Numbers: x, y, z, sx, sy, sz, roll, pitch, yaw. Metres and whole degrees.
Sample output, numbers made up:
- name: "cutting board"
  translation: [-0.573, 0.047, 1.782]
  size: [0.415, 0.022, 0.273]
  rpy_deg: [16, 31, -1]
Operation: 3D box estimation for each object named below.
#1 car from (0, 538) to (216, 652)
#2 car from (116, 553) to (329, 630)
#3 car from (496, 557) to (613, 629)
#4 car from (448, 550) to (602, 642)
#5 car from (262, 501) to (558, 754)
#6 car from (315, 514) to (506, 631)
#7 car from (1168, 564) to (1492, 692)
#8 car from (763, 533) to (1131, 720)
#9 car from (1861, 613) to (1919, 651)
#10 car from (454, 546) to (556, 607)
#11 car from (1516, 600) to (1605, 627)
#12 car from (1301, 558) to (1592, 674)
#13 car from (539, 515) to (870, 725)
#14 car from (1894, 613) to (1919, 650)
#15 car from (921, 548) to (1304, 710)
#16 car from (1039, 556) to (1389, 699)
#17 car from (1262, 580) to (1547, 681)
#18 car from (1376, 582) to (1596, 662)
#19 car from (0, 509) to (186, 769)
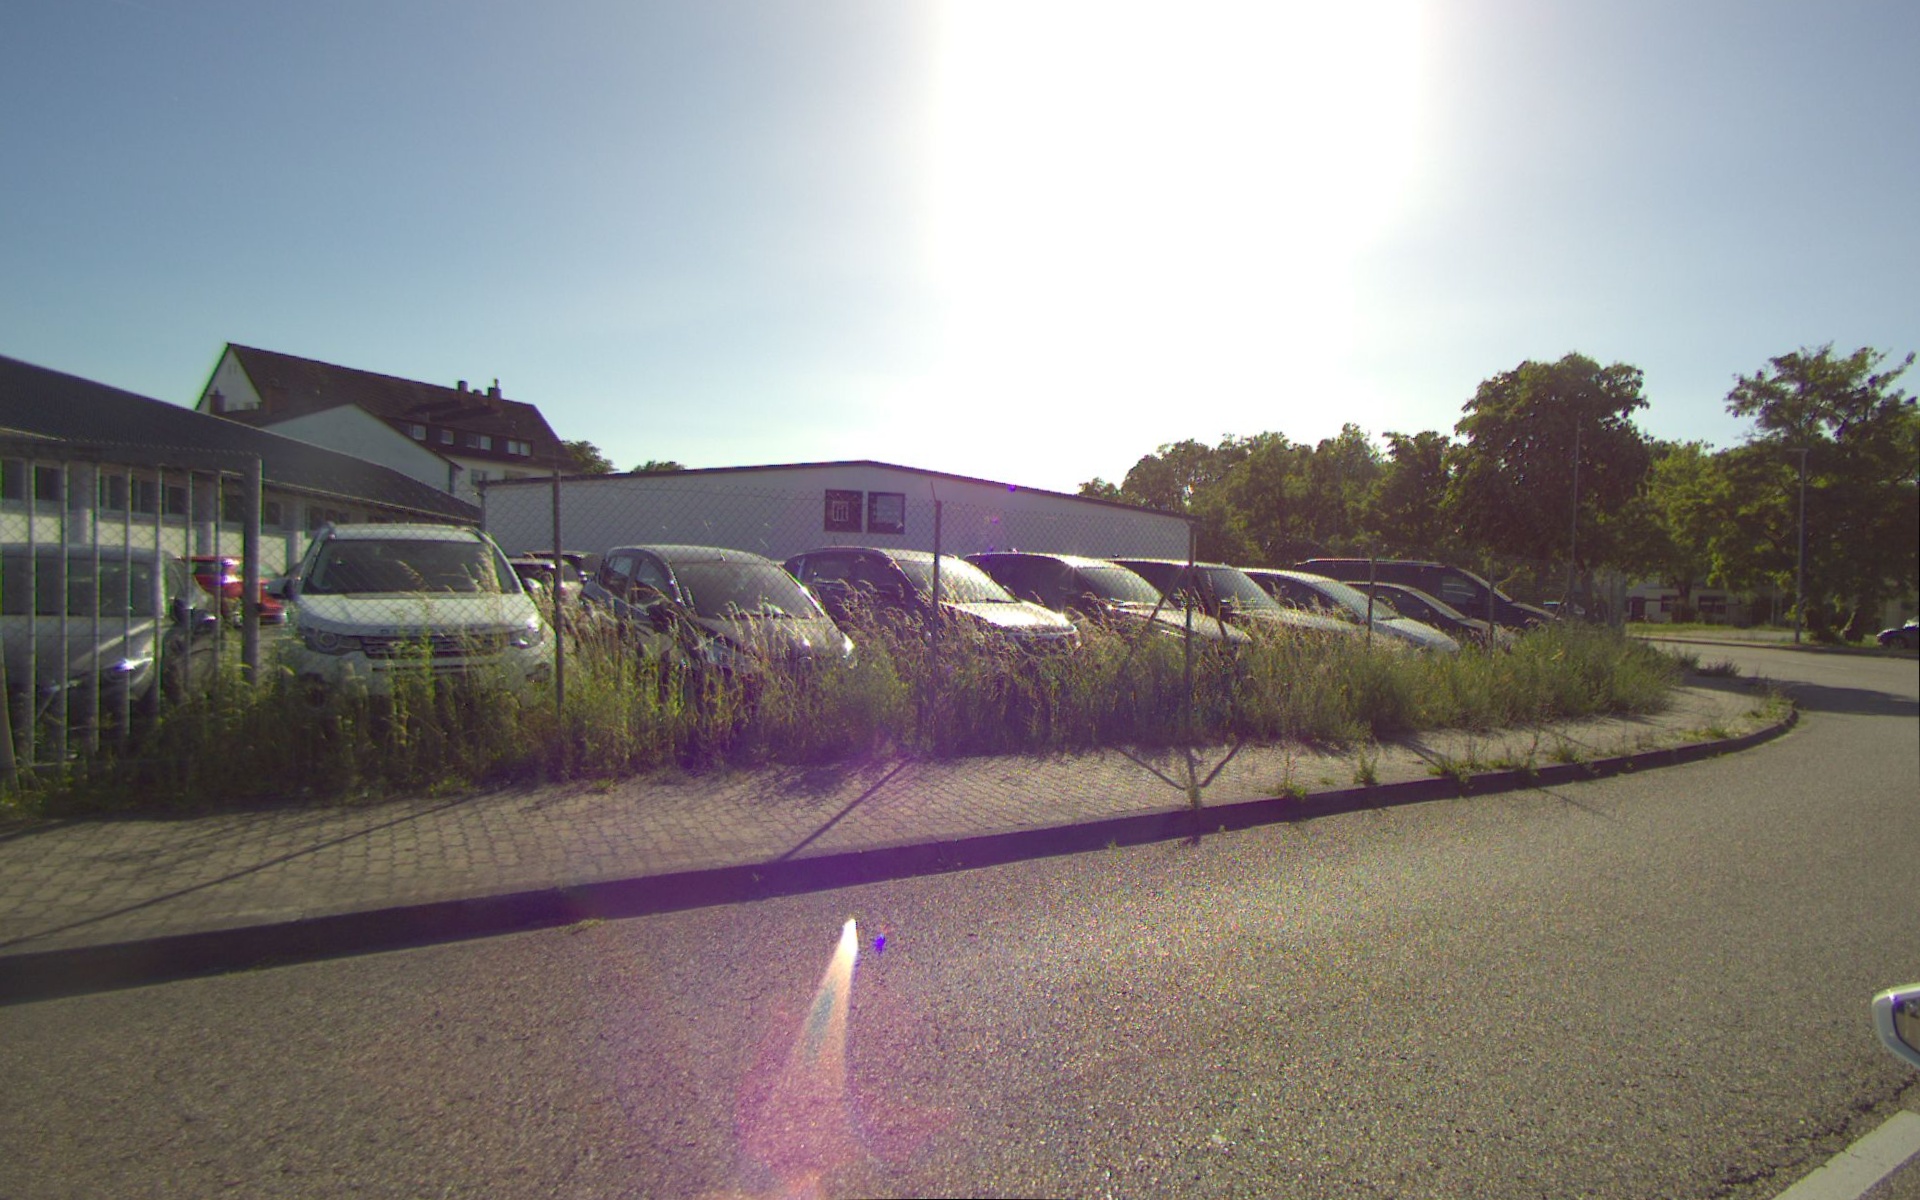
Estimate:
- name: "car"
  translation: [-14.228, -0.134, 16.166]
  size: [1.807, 1.583, 4.395]
  rpy_deg: [2, 1, -10]
- name: "car"
  translation: [-15.266, -0.202, 21.122]
  size: [1.807, 1.394, 4.395]
  rpy_deg: [2, 1, -10]
- name: "car"
  translation: [-10.073, -0.192, 25.264]
  size: [1.807, 1.583, 4.395]
  rpy_deg: [2, 1, -10]
- name: "car"
  translation: [-8.532, -0.111, 20.094]
  size: [1.807, 1.583, 4.395]
  rpy_deg: [2, 1, -10]
- name: "car"
  translation: [-5.028, 0.137, 8.973]
  size: [1.821, 1.671, 4.363]
  rpy_deg: [1, 1, -33]
- name: "car"
  translation: [-12.546, -0.672, 23.449]
  size: [2.072, 2.302, 5.752]
  rpy_deg: [2, 2, -9]
- name: "car"
  translation: [5.608, 0.333, 15.636]
  size: [1.828, 1.671, 4.345]
  rpy_deg: [1, 1, -44]
- name: "car"
  translation: [-0.358, 0.185, 11.232]
  size: [1.824, 1.671, 4.355]
  rpy_deg: [1, 1, -38]
- name: "car"
  translation: [39.213, 1.351, 39.752]
  size: [1.972, 1.445, 4.897]
  rpy_deg: [2, 1, -24]
- name: "car"
  translation: [-13.956, -0.718, 31.074]
  size: [1.807, 1.671, 4.395]
  rpy_deg: [2, 1, -10]
- name: "car"
  translation: [38.337, 0.848, 64.282]
  size: [1.966, 1.504, 4.913]
  rpy_deg: [2, 1, -13]
- name: "car"
  translation: [9.230, 0.234, 19.268]
  size: [4.765, 1.918, 1.836]
  rpy_deg: [2, 1, 31]
- name: "car"
  translation: [-2.822, 0.108, 10.297]
  size: [1.822, 1.671, 4.359]
  rpy_deg: [1, 1, -35]
- name: "car"
  translation: [41.552, 1.413, 40.807]
  size: [1.972, 1.504, 4.897]
  rpy_deg: [2, 1, -24]
- name: "car"
  translation: [1.802, 0.248, 12.529]
  size: [4.330, 1.671, 1.834]
  rpy_deg: [3, 1, 35]
- name: "car"
  translation: [3.450, 0.283, 14.006]
  size: [4.330, 1.671, 1.834]
  rpy_deg: [3, 1, 35]
- name: "car"
  translation: [7.698, 0.458, 17.528]
  size: [4.325, 1.456, 1.837]
  rpy_deg: [2, 1, 30]
- name: "car"
  translation: [12.535, 0.486, 24.221]
  size: [4.314, 1.671, 1.841]
  rpy_deg: [2, 1, 12]
- name: "car"
  translation: [-7.154, 0.155, 7.486]
  size: [1.821, 1.527, 4.363]
  rpy_deg: [1, 1, -33]
